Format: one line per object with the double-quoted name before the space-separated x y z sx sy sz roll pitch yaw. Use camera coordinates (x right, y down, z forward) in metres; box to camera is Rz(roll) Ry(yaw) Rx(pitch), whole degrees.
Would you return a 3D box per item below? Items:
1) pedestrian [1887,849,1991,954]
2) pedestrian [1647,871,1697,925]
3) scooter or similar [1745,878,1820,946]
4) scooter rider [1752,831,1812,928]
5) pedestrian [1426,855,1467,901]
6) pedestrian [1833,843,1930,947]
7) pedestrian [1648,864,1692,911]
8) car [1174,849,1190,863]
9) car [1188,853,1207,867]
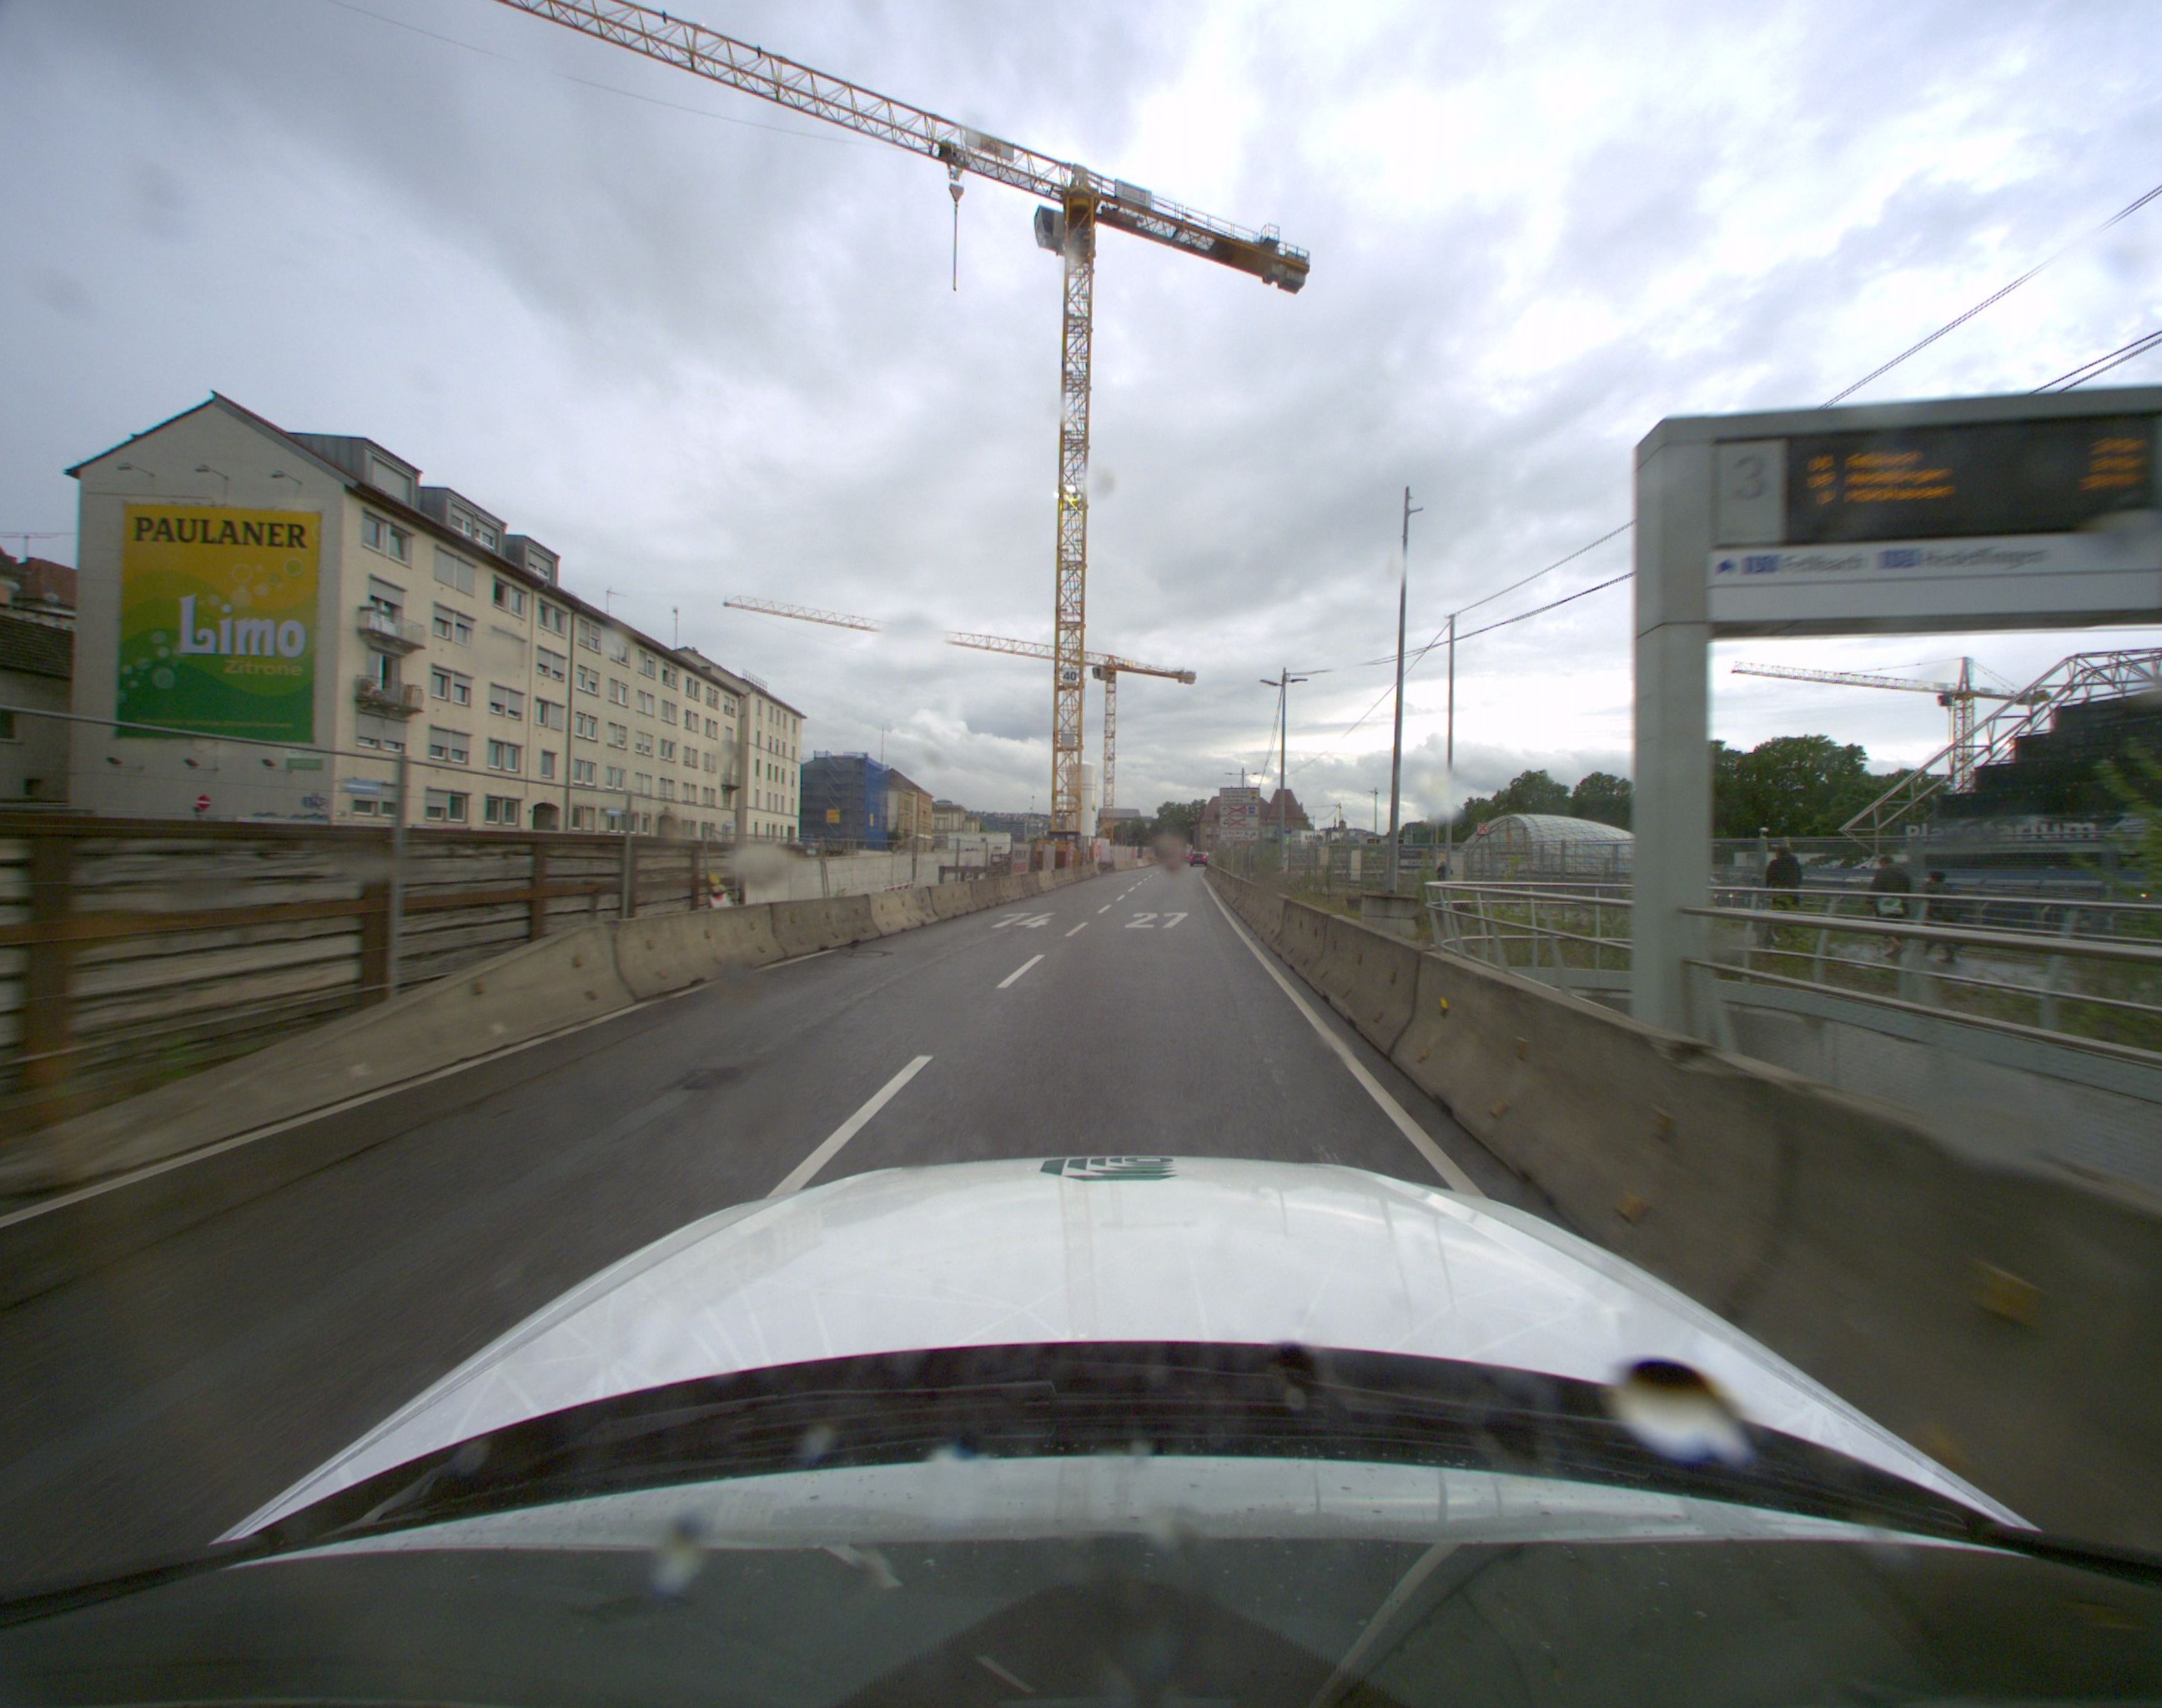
"pedestrian" 14.975 0.809 14.244 0.723 1.778 1.023 0 -1 2
"pedestrian" 18.337 1.349 25.277 0.693 1.632 1.014 0 -1 -25
"scooter or similar" 13.038 1.062 15.162 0.488 1.179 1.097 -1 0 4
"scooter rider" 13.034 0.462 15.159 0.519 1.755 0.700 -1 0 4
"pedestrian" 13.391 0.866 29.839 1.024 1.658 0.893 0 -1 -23
"pedestrian" 14.182 0.713 14.459 0.687 1.778 1.023 0 -1 1
"pedestrian" 18.924 1.068 26.177 0.693 1.472 0.885 0 -1 -25
"car" 13.169 0.233 105.695 1.852 1.660 4.668 1 0 9
"car" 12.404 0.624 86.665 1.853 1.433 4.664 0 0 6
